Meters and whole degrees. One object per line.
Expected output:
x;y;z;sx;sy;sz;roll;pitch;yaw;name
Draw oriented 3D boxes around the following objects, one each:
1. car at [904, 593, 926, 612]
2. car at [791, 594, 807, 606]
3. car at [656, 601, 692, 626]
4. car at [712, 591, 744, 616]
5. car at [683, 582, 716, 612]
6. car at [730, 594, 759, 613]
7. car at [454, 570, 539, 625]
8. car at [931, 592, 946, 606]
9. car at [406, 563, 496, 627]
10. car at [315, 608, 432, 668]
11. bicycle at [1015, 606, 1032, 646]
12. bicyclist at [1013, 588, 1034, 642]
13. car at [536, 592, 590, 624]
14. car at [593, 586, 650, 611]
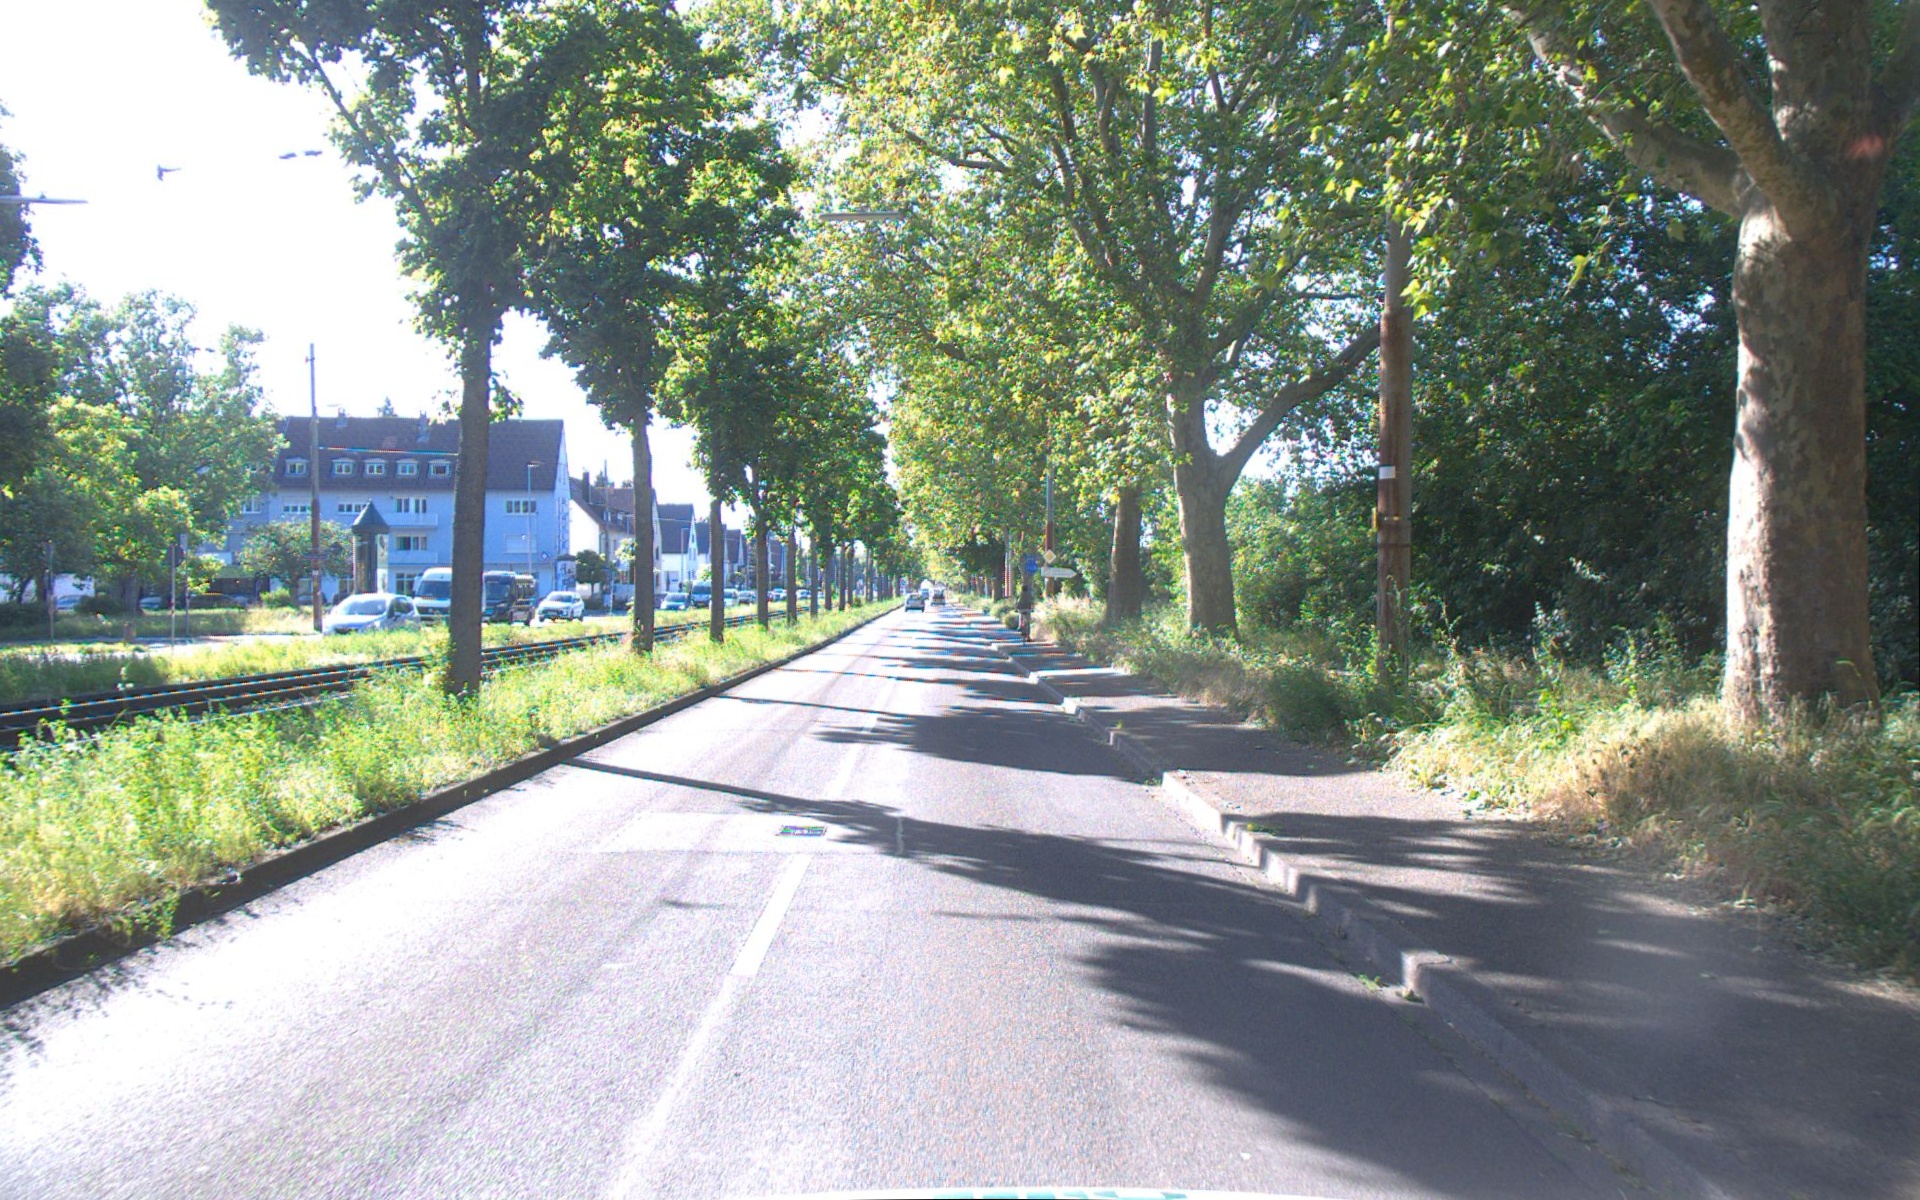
-3.584;0.181;132.677;1.703;1.425;3.276;2;-1;-1;car
-19.641;-0.037;201.634;1.642;1.434;3.999;0;0;-1;car
-17.454;0.811;101.124;1.525;1.419;3.819;2;-1;-1;car
-17.429;0.300;124.451;1.774;1.775;4.980;2;-1;-1;car
-23.562;-0.254;149.924;1.953;2.502;6.672;2;-1;-1;car
-18.176;0.318;139.650;1.952;1.558;3.751;0;0;0;car
-21.743;-0.079;77.863;2.138;2.418;6.463;2;-1;-1;car
-2.442;-0.121;188.541;1.725;1.539;3.276;2;-1;0;car
-21.597;-0.186;70.426;1.961;2.540;6.135;2;-1;-2;car
-16.517;1.050;46.828;1.692;1.555;4.441;2;-1;0;car
1.965;0.795;51.223;0.431;1.173;1.823;0;0;-1;bicycle
1.963;0.463;51.241;0.601;1.657;0.909;0;0;-1;bicyclist
-21.937;0.460;91.567;1.786;1.635;4.773;2;-1;-1;car
-27.854;-0.127;136.203;4.535;1.979;1.994;2;0;-12;car
